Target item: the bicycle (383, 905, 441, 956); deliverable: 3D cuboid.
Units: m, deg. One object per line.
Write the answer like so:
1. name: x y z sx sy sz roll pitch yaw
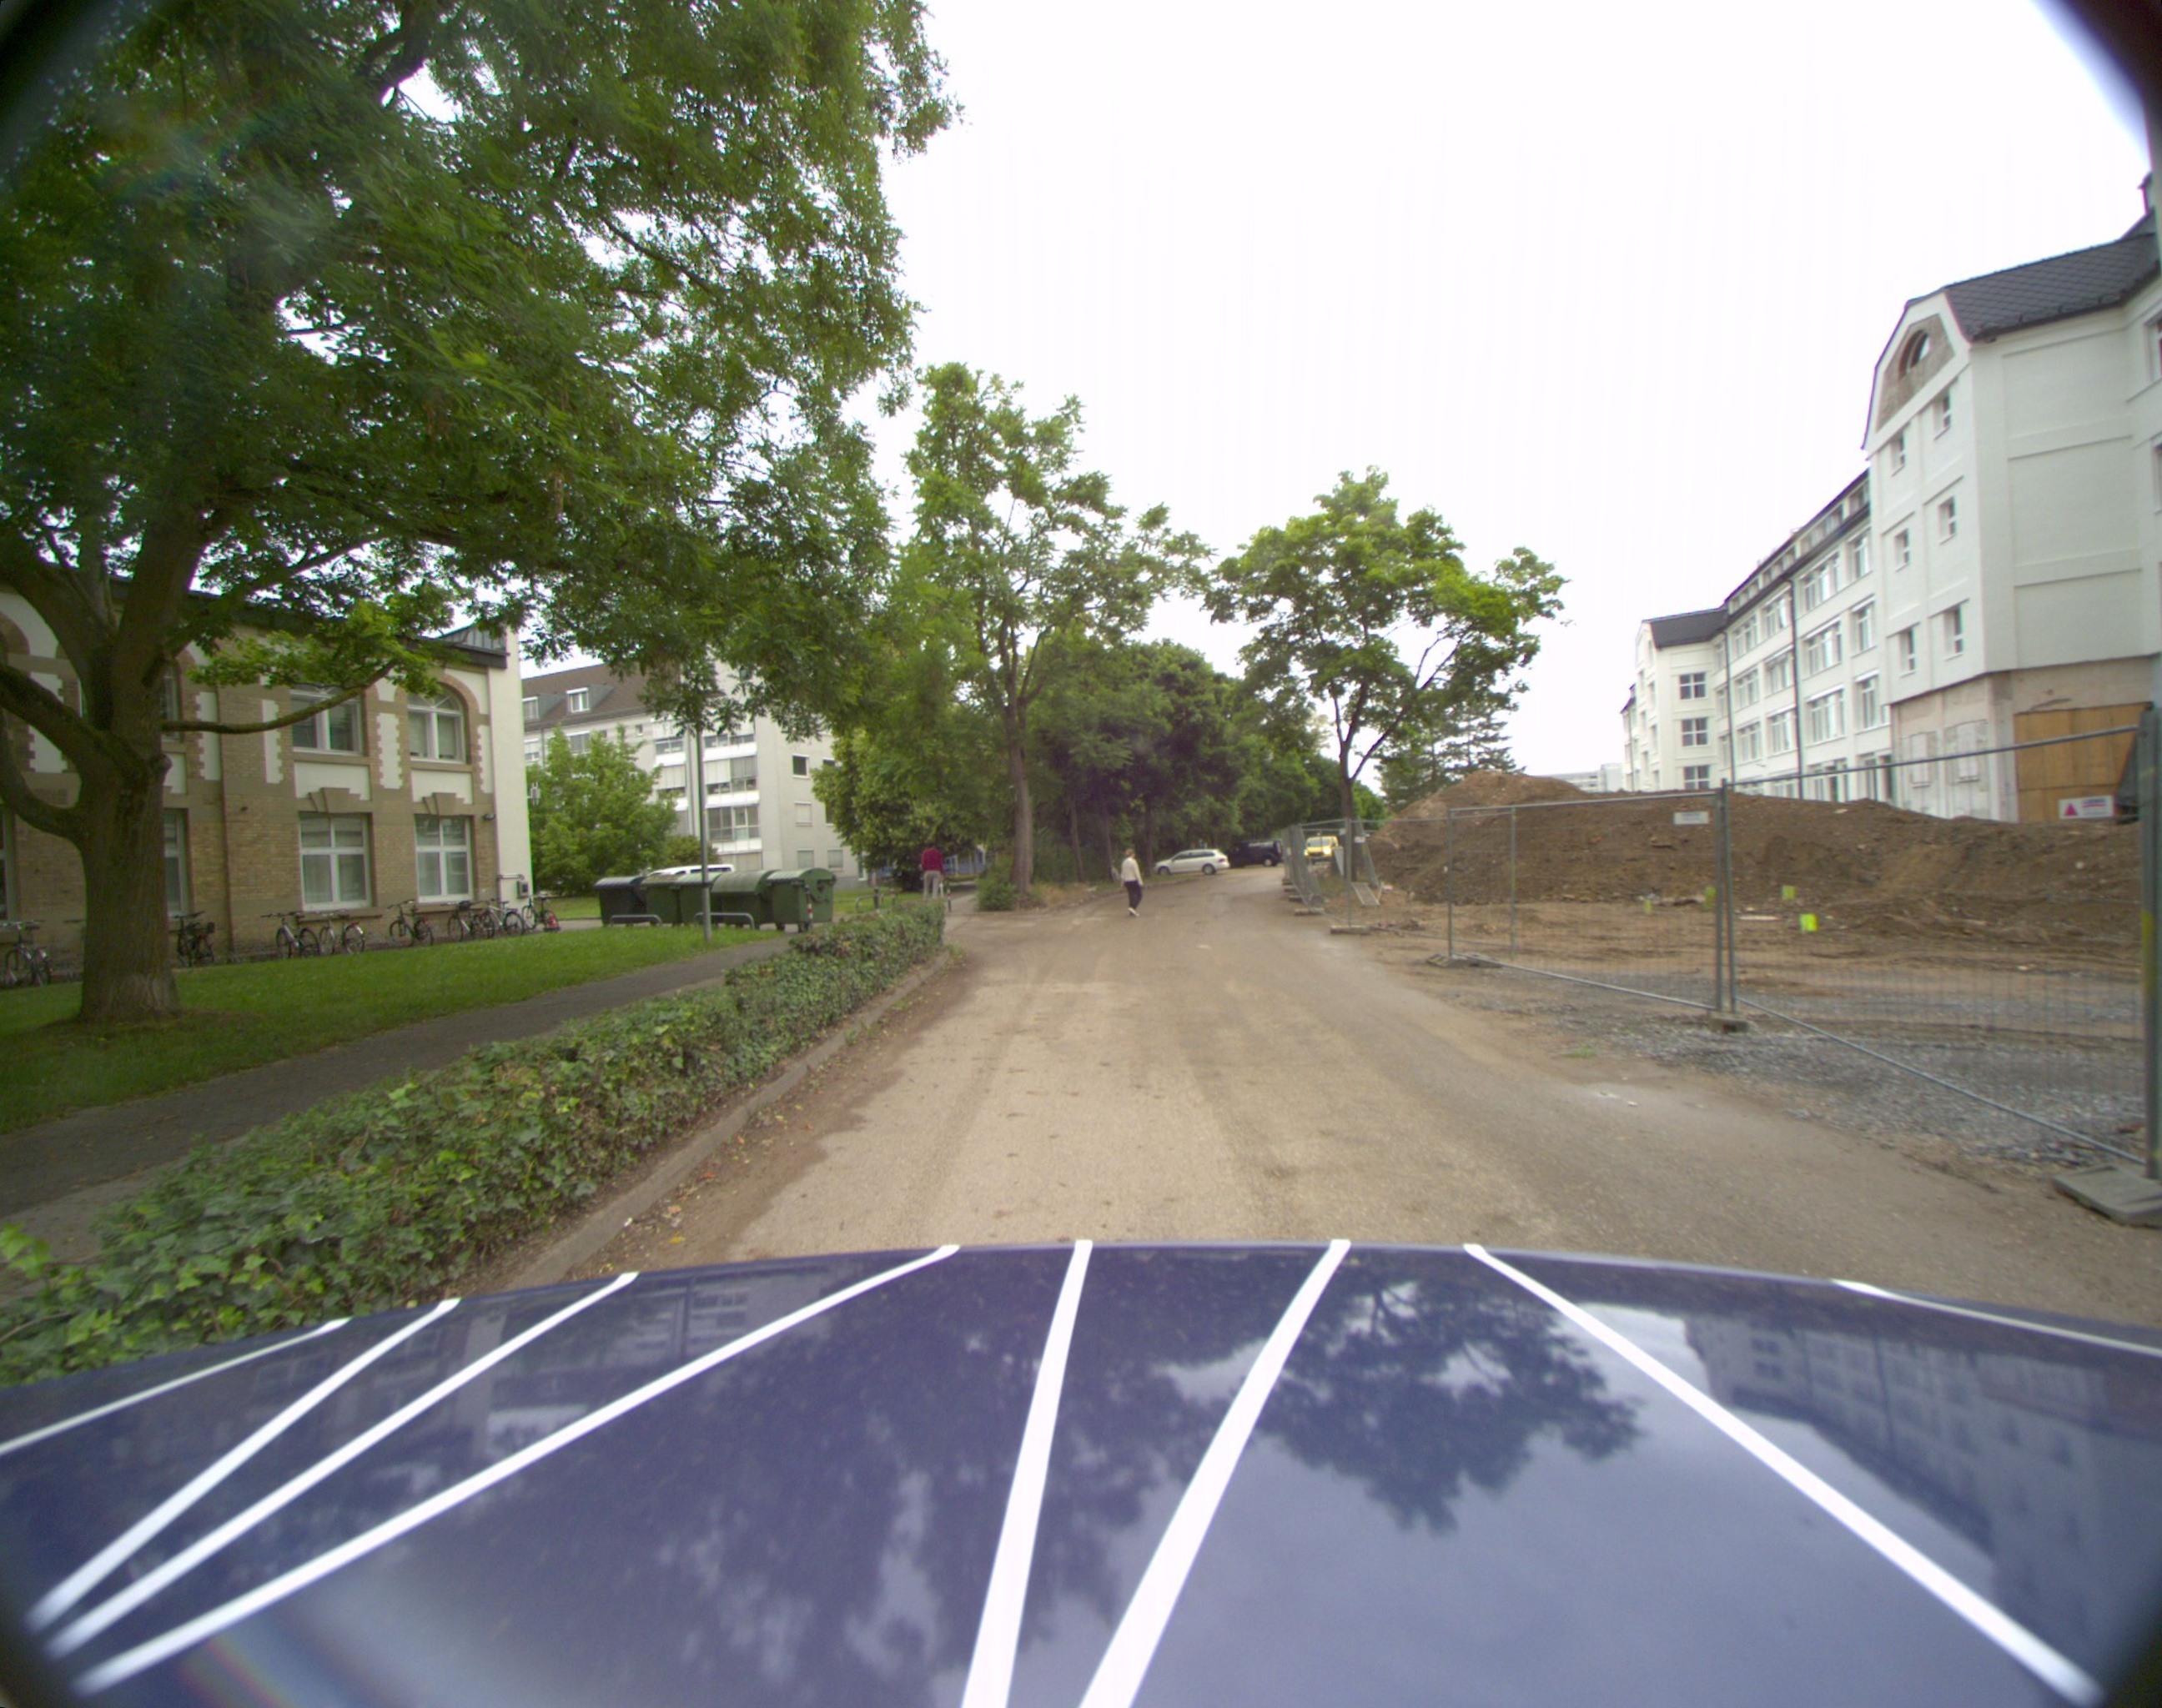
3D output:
1. bicycle: -15.670 1.774 17.782 1.740 1.108 0.461 -3 0 30

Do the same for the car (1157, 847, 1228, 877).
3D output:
1. car: 6.545 0.465 44.546 3.879 1.565 1.754 -3 1 15

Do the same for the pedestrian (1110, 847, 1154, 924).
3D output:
1. pedestrian: 1.219 0.741 18.297 0.752 1.771 0.662 -3 1 -24

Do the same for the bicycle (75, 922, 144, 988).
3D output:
1. bicycle: -17.752 1.817 13.874 1.740 1.108 0.461 -3 0 29

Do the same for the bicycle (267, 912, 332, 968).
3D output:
1. bicycle: -16.559 1.803 16.088 1.740 1.108 0.461 -3 0 29

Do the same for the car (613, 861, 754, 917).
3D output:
1. car: -16.239 1.389 31.353 1.897 1.862 4.781 -5 -1 28

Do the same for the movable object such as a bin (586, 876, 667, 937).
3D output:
1. movable object such as a bin: -11.655 1.335 19.515 1.359 1.442 1.110 -3 1 21

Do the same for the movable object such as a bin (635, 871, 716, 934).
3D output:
1. movable object such as a bin: -10.171 1.203 19.077 1.324 1.442 1.110 -3 1 20

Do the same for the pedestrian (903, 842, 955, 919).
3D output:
1. pedestrian: -4.227 0.715 21.202 0.793 2.052 1.203 -2 1 23

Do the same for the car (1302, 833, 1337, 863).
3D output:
1. car: 17.089 -0.427 54.279 2.121 2.002 4.005 -2 0 20

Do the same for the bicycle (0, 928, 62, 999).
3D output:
1. bicycle: -18.141 1.848 13.060 1.740 1.108 0.461 -3 0 29

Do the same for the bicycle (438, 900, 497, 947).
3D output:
1. bicycle: -15.234 1.720 18.865 1.740 1.108 0.461 -3 0 29

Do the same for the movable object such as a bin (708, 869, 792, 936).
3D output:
1. movable object such as a bin: -7.640 1.111 17.558 1.283 1.442 1.110 -3 1 21

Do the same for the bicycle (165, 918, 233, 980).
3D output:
1. bicycle: -17.138 1.814 14.754 1.740 1.108 0.461 -2 1 29

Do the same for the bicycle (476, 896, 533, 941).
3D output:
1. bicycle: -14.869 1.659 19.587 1.740 1.108 0.461 -3 0 29

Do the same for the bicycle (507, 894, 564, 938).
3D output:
1. bicycle: -14.615 1.662 20.337 1.740 1.108 0.461 -3 0 28

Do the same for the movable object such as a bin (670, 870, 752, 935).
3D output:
1. movable object such as a bin: -8.929 1.158 18.364 1.292 1.442 1.110 -3 1 21

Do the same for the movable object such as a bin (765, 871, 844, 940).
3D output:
1. movable object such as a bin: -6.203 1.133 17.074 1.272 1.426 1.074 -2 1 36

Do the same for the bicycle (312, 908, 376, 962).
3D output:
1. bicycle: -16.246 1.765 16.735 1.740 1.108 0.461 -3 0 29

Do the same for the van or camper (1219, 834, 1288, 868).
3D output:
1. van or camper: 12.617 -0.206 55.718 4.490 2.245 2.003 -2 1 27

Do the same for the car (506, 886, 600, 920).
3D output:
1. car: -32.957 3.025 47.575 1.996 1.724 4.347 -3 0 21

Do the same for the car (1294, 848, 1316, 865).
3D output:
1. car: 23.732 0.237 80.453 1.996 1.586 4.005 -2 0 19
